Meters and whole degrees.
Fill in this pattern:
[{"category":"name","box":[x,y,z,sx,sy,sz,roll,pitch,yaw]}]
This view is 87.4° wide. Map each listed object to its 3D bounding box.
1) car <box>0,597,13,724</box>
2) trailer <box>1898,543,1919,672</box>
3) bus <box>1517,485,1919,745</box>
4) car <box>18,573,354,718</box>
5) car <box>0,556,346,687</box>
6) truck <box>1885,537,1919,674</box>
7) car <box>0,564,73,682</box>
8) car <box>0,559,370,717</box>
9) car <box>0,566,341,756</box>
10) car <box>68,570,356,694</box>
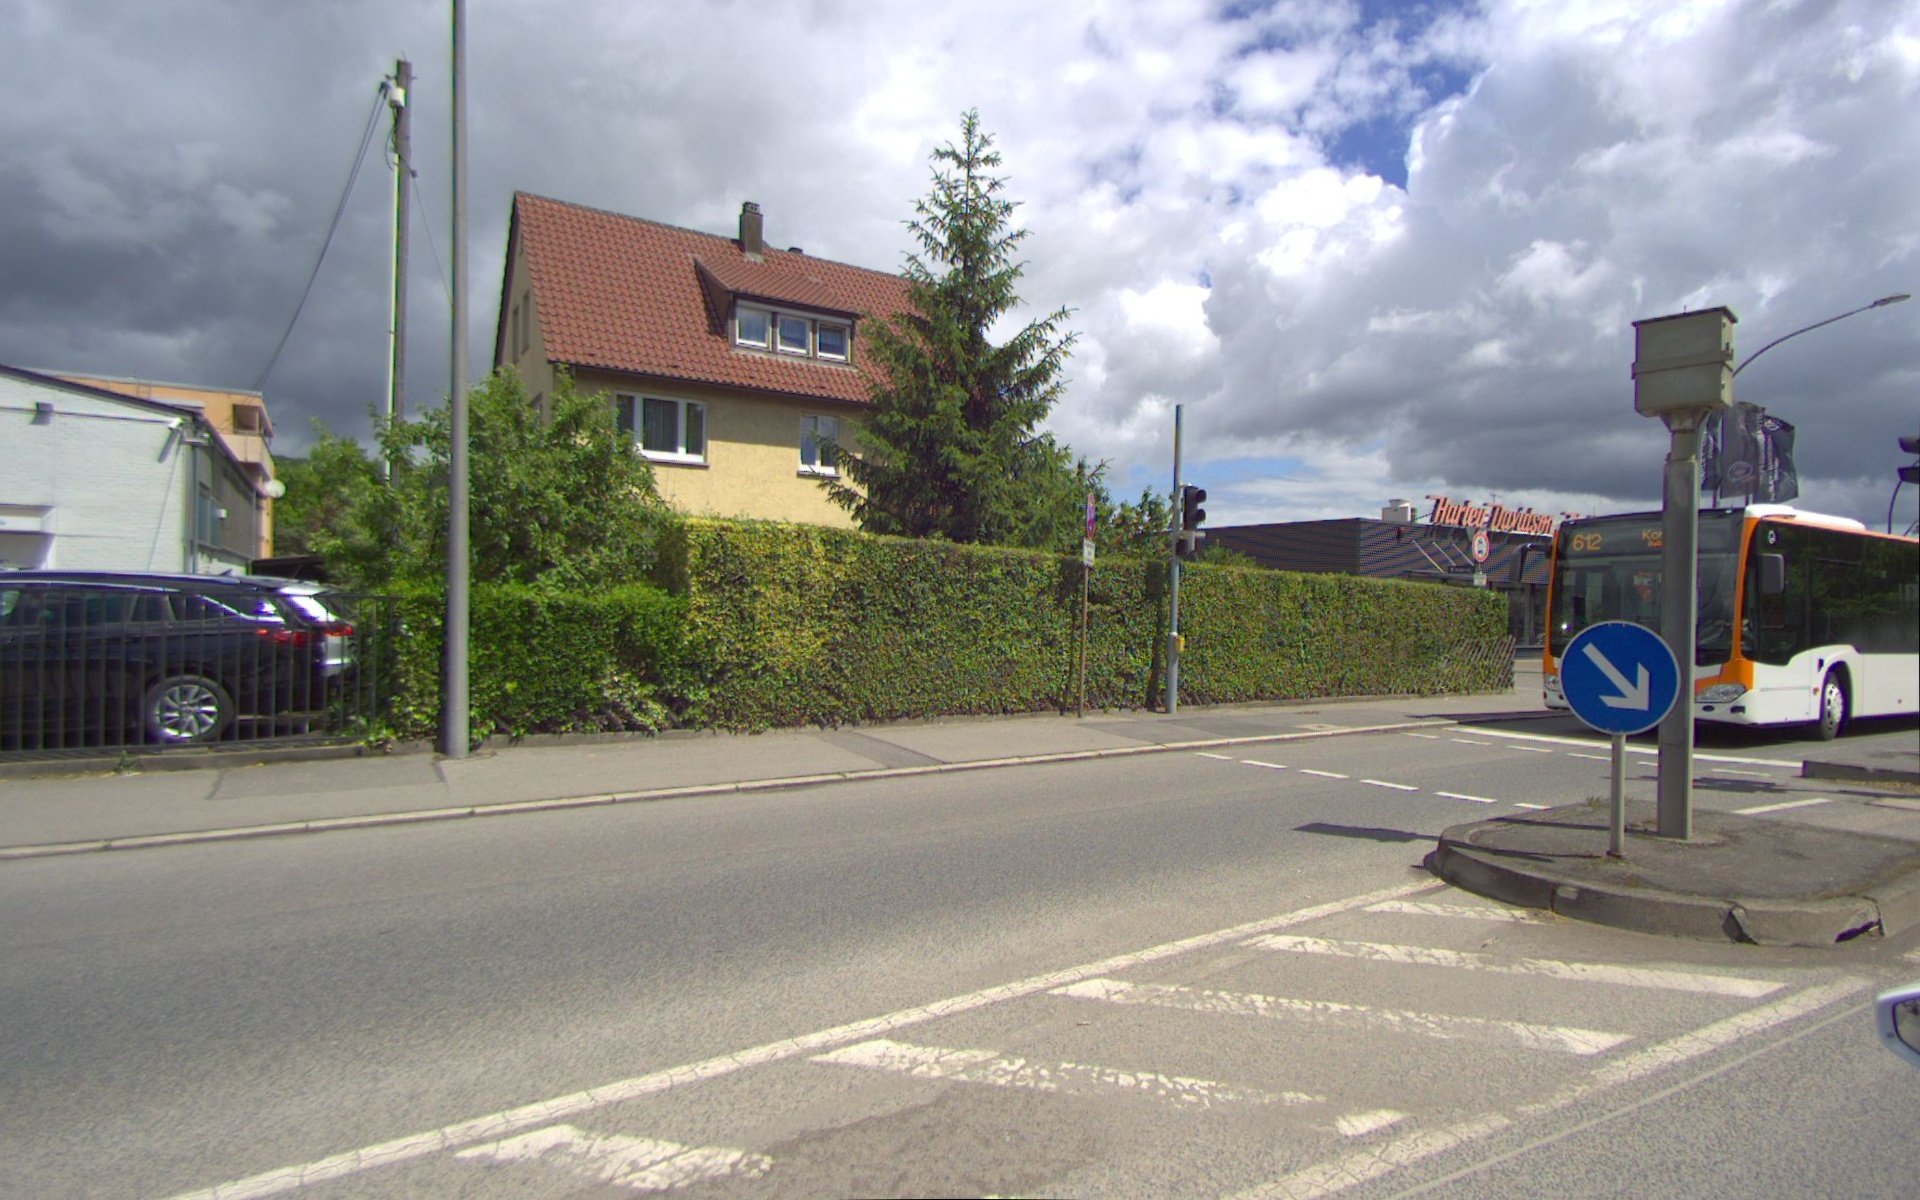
[{"category":"car","box":[-16.867,0.922,14.712,3.953,2.040,1.984,2,0,-30]},{"category":"trailer","box":[37.048,0.447,36.276,15.429,4.107,2.775,2,0,-40]},{"category":"bus","box":[13.763,0.358,16.106,12.123,3.071,2.706,2,-1,-31]},{"category":"car","box":[-12.052,0.685,16.045,3.953,2.040,1.984,2,0,-30]},{"category":"car","box":[-10.713,0.294,13.628,3.953,1.569,1.984,2,0,-30]},{"category":"truck","box":[31.645,0.262,31.679,6.448,4.107,2.775,2,0,-40]},{"category":"car","box":[-18.237,0.342,17.384,3.953,2.040,1.984,2,0,-30]},{"category":"car","box":[-9.009,0.399,11.357,3.953,1.561,1.984,2,0,-30]},{"category":"car","box":[-7.848,0.481,8.853,3.997,1.502,1.850,2,0,-31]},{"category":"car","box":[-13.428,0.565,18.382,3.953,2.040,1.984,2,0,-30]}]
